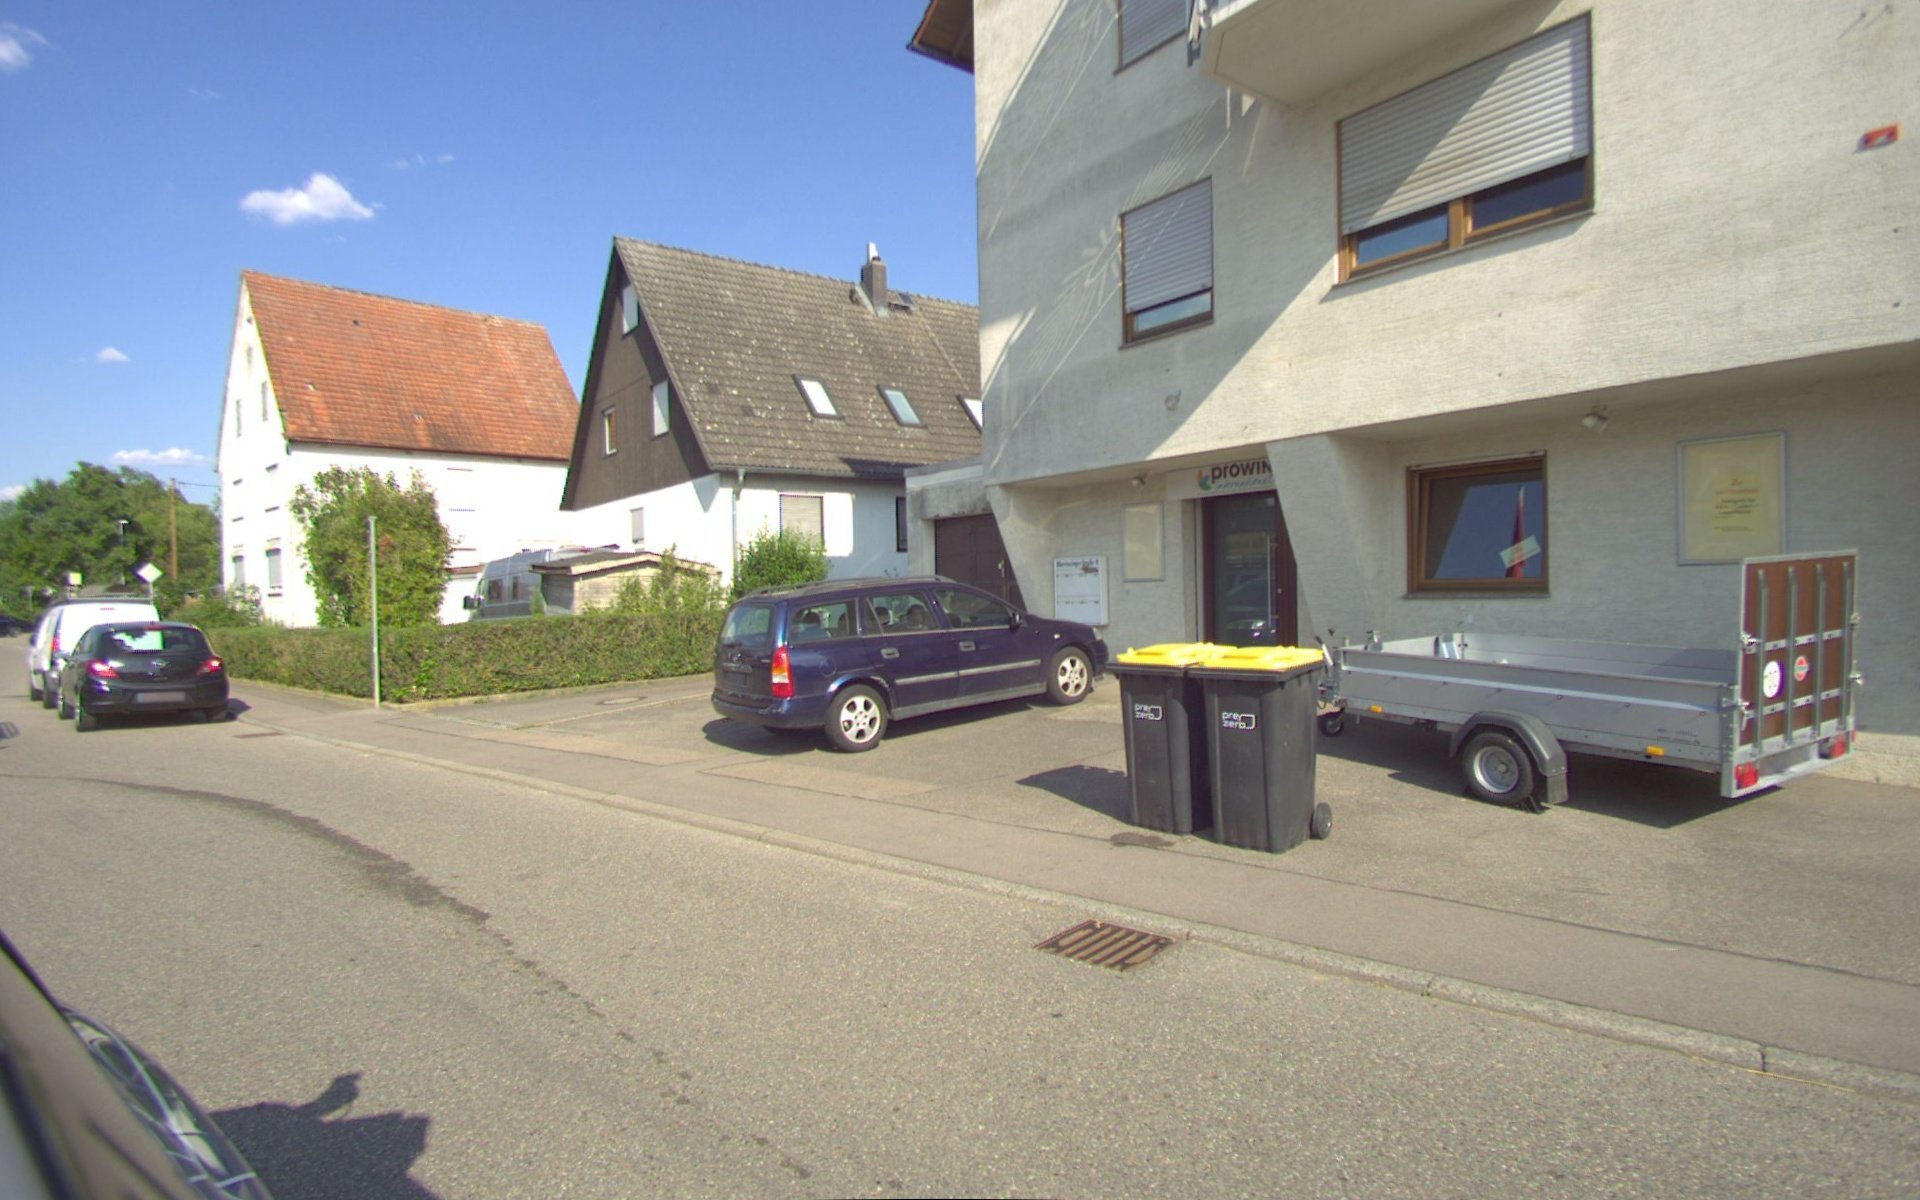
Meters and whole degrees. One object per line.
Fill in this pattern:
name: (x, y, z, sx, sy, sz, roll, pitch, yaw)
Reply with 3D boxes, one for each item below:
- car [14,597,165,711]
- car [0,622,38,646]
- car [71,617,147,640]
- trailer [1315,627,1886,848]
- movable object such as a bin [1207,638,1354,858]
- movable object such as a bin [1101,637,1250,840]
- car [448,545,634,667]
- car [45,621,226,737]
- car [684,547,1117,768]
car: (-16.236, 0.925, 18.813, 4.192, 1.887, 1.697, -1, -1, 43)
car: (-61.017, 2.146, 63.194, 1.758, 1.442, 4.812, 0, 0, 20)
car: (-61.504, 2.046, 73.247, 1.837, 1.503, 4.271, -1, 0, 3)
trailer: (3.965, 0.738, 6.669, 1.312, 0.861, 2.900, -4, 4, -31)
movable object such as a bin: (1.774, 0.776, 5.594, 0.557, 1.079, 0.564, -1, 3, 41)
movable object such as a bin: (1.293, 0.790, 6.071, 0.618, 1.079, 0.593, -1, 3, 41)
car: (-10.377, 0.141, 24.738, 2.133, 2.615, 6.100, -3, 1, -43)
car: (-12.369, 1.074, 15.094, 3.835, 1.462, 1.654, -1, -1, 44)
car: (-0.492, 0.428, 10.188, 3.937, 1.549, 1.767, -7, 3, -37)
